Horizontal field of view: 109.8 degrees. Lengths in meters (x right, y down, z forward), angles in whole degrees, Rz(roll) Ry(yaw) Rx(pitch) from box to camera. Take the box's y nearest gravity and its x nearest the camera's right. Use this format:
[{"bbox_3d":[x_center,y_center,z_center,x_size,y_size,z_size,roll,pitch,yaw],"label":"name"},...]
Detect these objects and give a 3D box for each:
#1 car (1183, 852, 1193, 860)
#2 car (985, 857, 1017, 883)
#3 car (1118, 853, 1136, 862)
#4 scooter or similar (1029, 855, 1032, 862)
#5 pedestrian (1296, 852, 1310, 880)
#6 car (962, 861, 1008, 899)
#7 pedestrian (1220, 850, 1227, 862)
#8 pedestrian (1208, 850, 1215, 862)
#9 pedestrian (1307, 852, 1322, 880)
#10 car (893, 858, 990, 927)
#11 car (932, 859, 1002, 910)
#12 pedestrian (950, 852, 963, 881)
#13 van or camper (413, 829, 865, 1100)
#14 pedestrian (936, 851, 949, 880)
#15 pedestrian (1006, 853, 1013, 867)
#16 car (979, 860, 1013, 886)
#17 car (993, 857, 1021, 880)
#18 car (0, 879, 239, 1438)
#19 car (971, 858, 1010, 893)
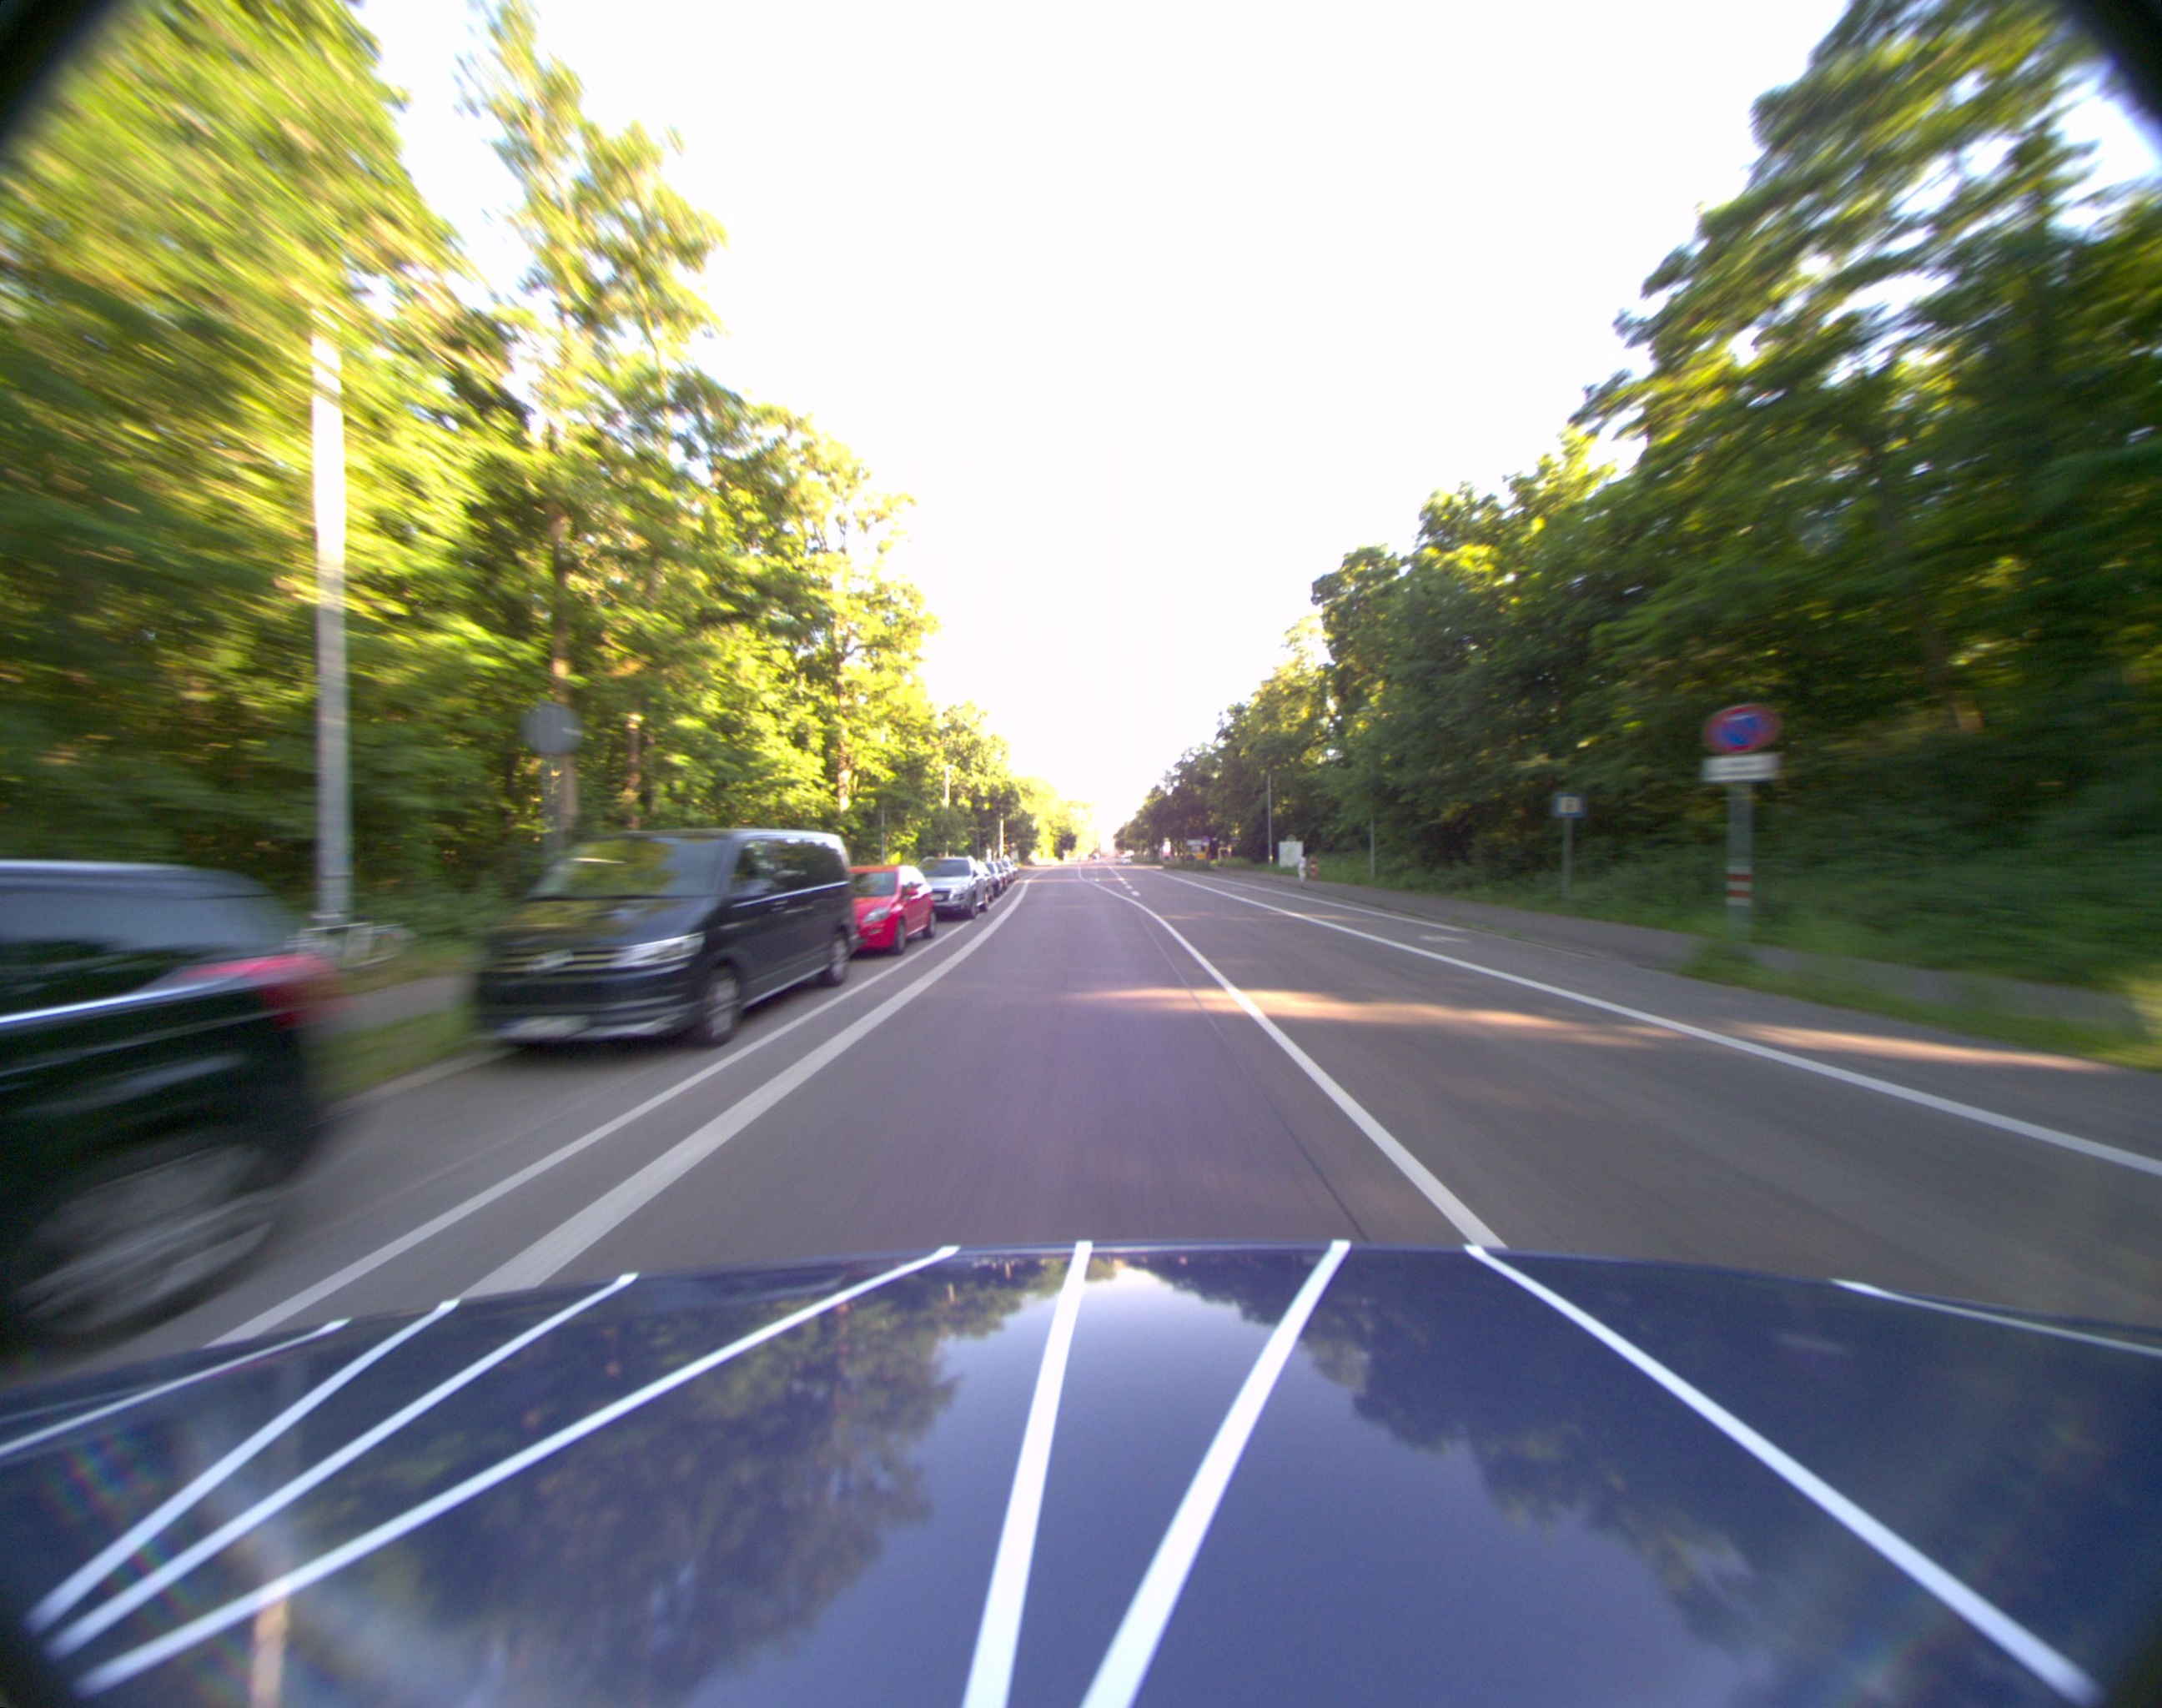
[{"bbox_3d":[22.647,0.352,160.717,1.758,1.631,3.613,0,0,3],"label":"car"},{"bbox_3d":[-4.974,0.981,47.702,1.742,1.516,4.358,0,0,-2],"label":"car"},{"bbox_3d":[7.350,0.573,122.463,1.831,1.517,3.939,0,0,-13],"label":"car"},{"bbox_3d":[-8.431,0.762,125.890,0.386,1.177,1.103,0,1,1],"label":"scooter or similar"},{"bbox_3d":[13.173,0.704,45.163,0.676,1.644,0.790,0,1,5],"label":"pedestrian"},{"bbox_3d":[-3.934,1.042,31.557,1.599,1.393,3.797,-2,0,-3],"label":"car"},{"bbox_3d":[22.175,0.294,118.063,0.832,1.809,0.738,0,1,30],"label":"pedestrian"},{"bbox_3d":[20.363,0.313,118.563,0.738,1.809,0.832,-1,1,-36],"label":"pedestrian"},{"bbox_3d":[13.865,0.729,45.086,0.676,1.644,0.790,0,1,5],"label":"pedestrian"},{"bbox_3d":[-3.541,0.913,20.013,1.803,1.585,4.028,0,0,0],"label":"car"},{"bbox_3d":[-3.920,0.998,26.783,1.812,1.510,4.503,-3,0,-1],"label":"car"},{"bbox_3d":[-7.795,0.790,47.477,0.677,1.788,0.789,1,1,-4],"label":"pedestrian"},{"bbox_3d":[-3.925,0.812,7.913,1.902,2.002,4.587,0,0,2],"label":"van or camper"},{"bbox_3d":[-8.606,0.728,47.297,0.677,1.788,0.953,1,0,-4],"label":"pedestrian"},{"bbox_3d":[-9.039,0.750,95.992,0.809,1.789,0.734,0,1,0],"label":"pedestrian"},{"bbox_3d":[-4.798,1.055,43.167,1.632,1.312,3.839,-1,0,-2],"label":"car"},{"bbox_3d":[-5.032,0.964,52.229,1.661,1.443,4.019,0,0,-3],"label":"car"},{"bbox_3d":[-4.255,0.930,0.916,1.802,1.647,4.030,0,0,5],"label":"car"},{"bbox_3d":[-4.292,0.987,36.454,1.621,1.460,3.722,-3,0,-5],"label":"car"}]
